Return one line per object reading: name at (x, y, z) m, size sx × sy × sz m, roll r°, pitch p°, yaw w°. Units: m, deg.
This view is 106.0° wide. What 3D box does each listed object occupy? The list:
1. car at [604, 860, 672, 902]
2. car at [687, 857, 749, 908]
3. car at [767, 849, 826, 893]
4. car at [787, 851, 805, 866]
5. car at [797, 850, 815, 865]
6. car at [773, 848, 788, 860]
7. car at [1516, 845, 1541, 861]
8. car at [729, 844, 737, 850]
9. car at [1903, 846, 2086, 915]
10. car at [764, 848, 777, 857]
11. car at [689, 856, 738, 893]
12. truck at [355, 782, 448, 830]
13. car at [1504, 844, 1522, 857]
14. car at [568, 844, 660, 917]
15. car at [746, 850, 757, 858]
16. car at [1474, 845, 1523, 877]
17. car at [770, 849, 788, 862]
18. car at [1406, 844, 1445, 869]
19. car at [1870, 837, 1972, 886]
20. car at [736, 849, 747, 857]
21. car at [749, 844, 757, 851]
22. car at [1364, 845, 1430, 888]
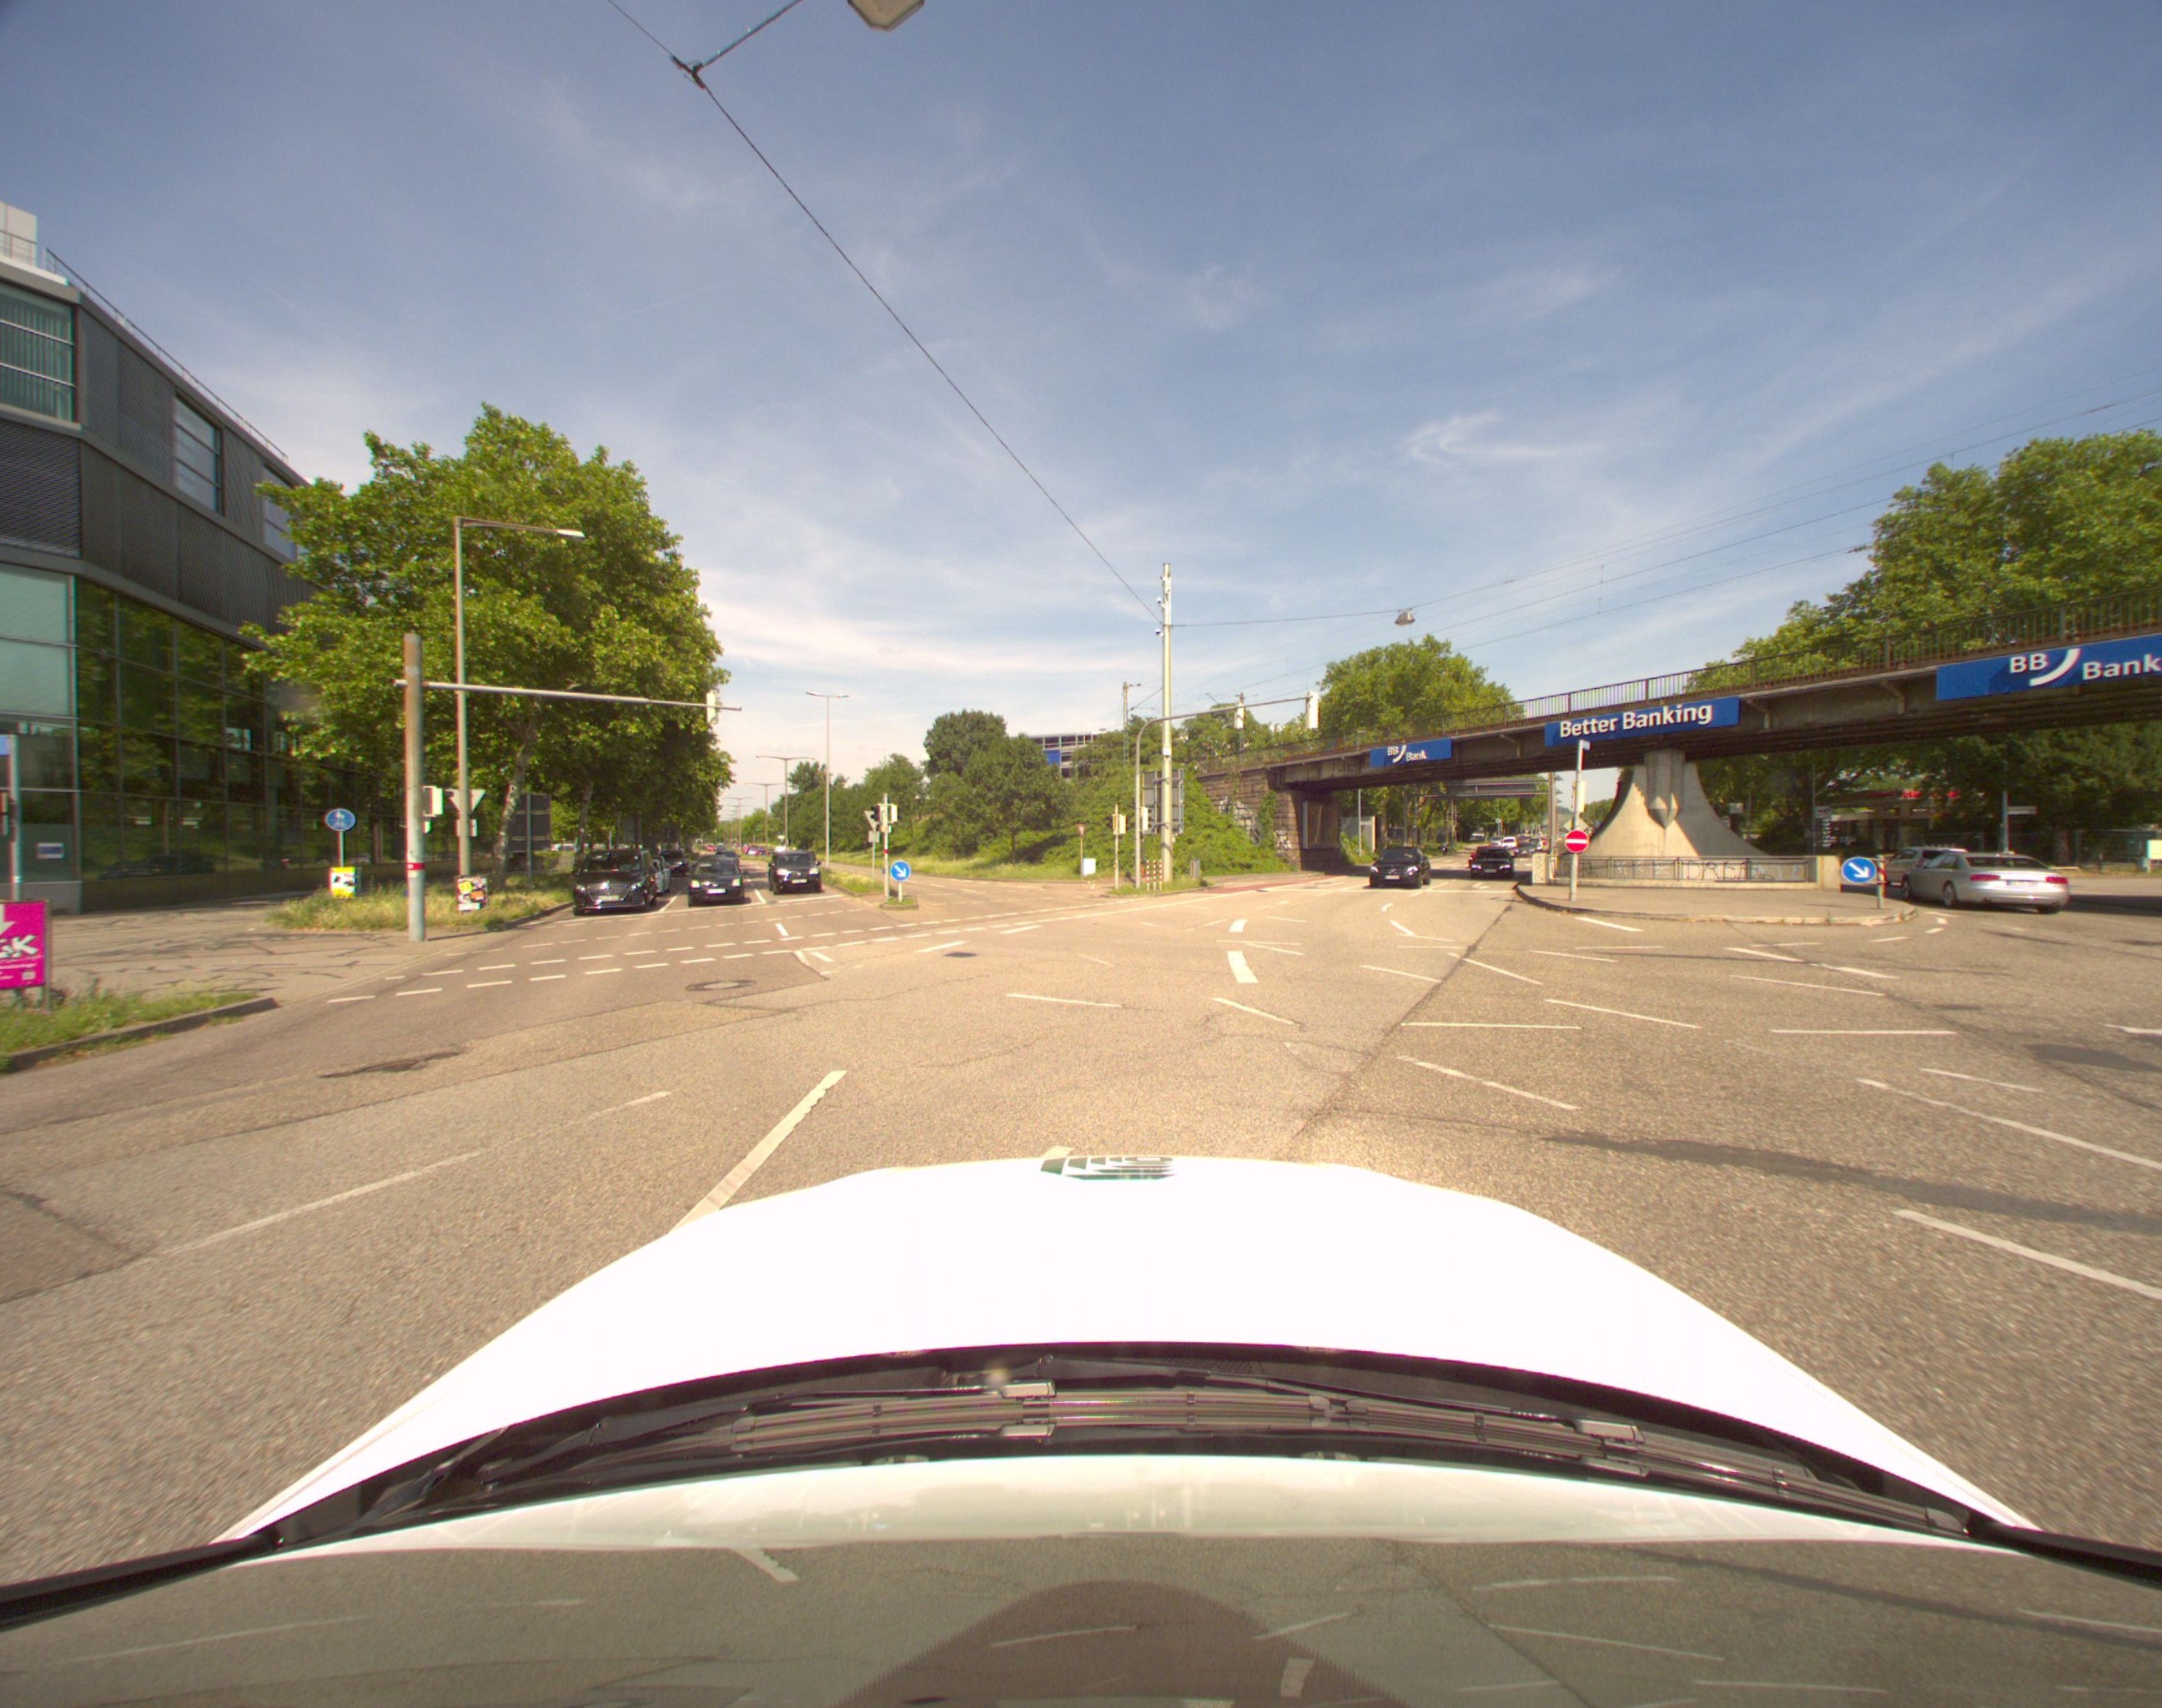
car at (-17.924, 1.047, 33.158) m, size 1.899 × 1.449 × 4.965 m, roll -2°, pitch 1°, yaw -23°
car at (-12.052, 0.883, 27.075) m, size 1.770 × 1.475 × 3.926 m, roll -1°, pitch 1°, yaw -24°
car at (-11.556, 0.632, 32.948) m, size 1.816 × 1.615 × 4.454 m, roll -1°, pitch 1°, yaw -25°
car at (-34.147, 0.495, 97.416) m, size 1.744 × 1.535 × 3.970 m, roll 0°, pitch 2°, yaw -24°
car at (-37.865, 0.456, 112.075) m, size 2.027 × 1.837 × 3.970 m, roll 0°, pitch 2°, yaw -24°
car at (-45.705, 0.026, 123.836) m, size 2.002 × 1.708 × 4.230 m, roll -1°, pitch 0°, yaw -23°
car at (42.031, -0.097, 76.466) m, size 1.671 × 1.442 × 4.026 m, roll 0°, pitch 1°, yaw 35°
car at (-98.799, -1.972, 231.412) m, size 2.002 × 1.860 × 3.970 m, roll -1°, pitch 0°, yaw -23°
car at (23.766, 0.594, 21.432) m, size 1.974 × 1.507 × 4.512 m, roll 2°, pitch 2°, yaw 32°
car at (-57.235, -0.319, 149.880) m, size 2.003 × 1.629 × 4.055 m, roll 0°, pitch 1°, yaw -24°
car at (-16.558, 0.883, 36.860) m, size 1.844 × 1.462 × 4.482 m, roll -3°, pitch 1°, yaw -23°
truck at (-53.761, -3.675, 64.331) m, size 8.875 × 3.395 × 2.690 m, roll 0°, pitch 0°, yaw 30°
car at (57.044, -0.479, 107.491) m, size 1.780 × 1.717 × 4.025 m, roll 0°, pitch 0°, yaw 32°
car at (-14.343, 0.702, 25.281) m, size 1.947 × 1.919 × 5.187 m, roll -1°, pitch 2°, yaw -24°
car at (-59.976, 0.034, 148.073) m, size 1.634 × 1.483 × 4.016 m, roll 1°, pitch 0°, yaw -24°
car at (19.930, 0.302, 38.809) m, size 1.671 × 1.442 × 4.026 m, roll 0°, pitch 1°, yaw 33°
car at (-41.500, 0.236, 111.855) m, size 2.003 × 1.684 × 3.968 m, roll 0°, pitch 1°, yaw -24°
car at (21.930, 0.143, 51.771) m, size 1.805 × 1.506 × 4.242 m, roll 0°, pitch 0°, yaw 29°
car at (32.246, 0.232, 31.403) m, size 1.892 × 1.769 × 4.026 m, roll 1°, pitch 1°, yaw 33°
car at (-75.398, -0.236, 180.877) m, size 1.921 × 1.845 × 3.967 m, roll -1°, pitch 1°, yaw -25°
car at (-94.973, -1.917, 235.744) m, size 1.921 × 1.845 × 3.967 m, roll -1°, pitch 1°, yaw -25°
car at (12.772, 0.451, 32.751) m, size 1.975 × 1.596 × 4.472 m, roll 0°, pitch 1°, yaw 28°
